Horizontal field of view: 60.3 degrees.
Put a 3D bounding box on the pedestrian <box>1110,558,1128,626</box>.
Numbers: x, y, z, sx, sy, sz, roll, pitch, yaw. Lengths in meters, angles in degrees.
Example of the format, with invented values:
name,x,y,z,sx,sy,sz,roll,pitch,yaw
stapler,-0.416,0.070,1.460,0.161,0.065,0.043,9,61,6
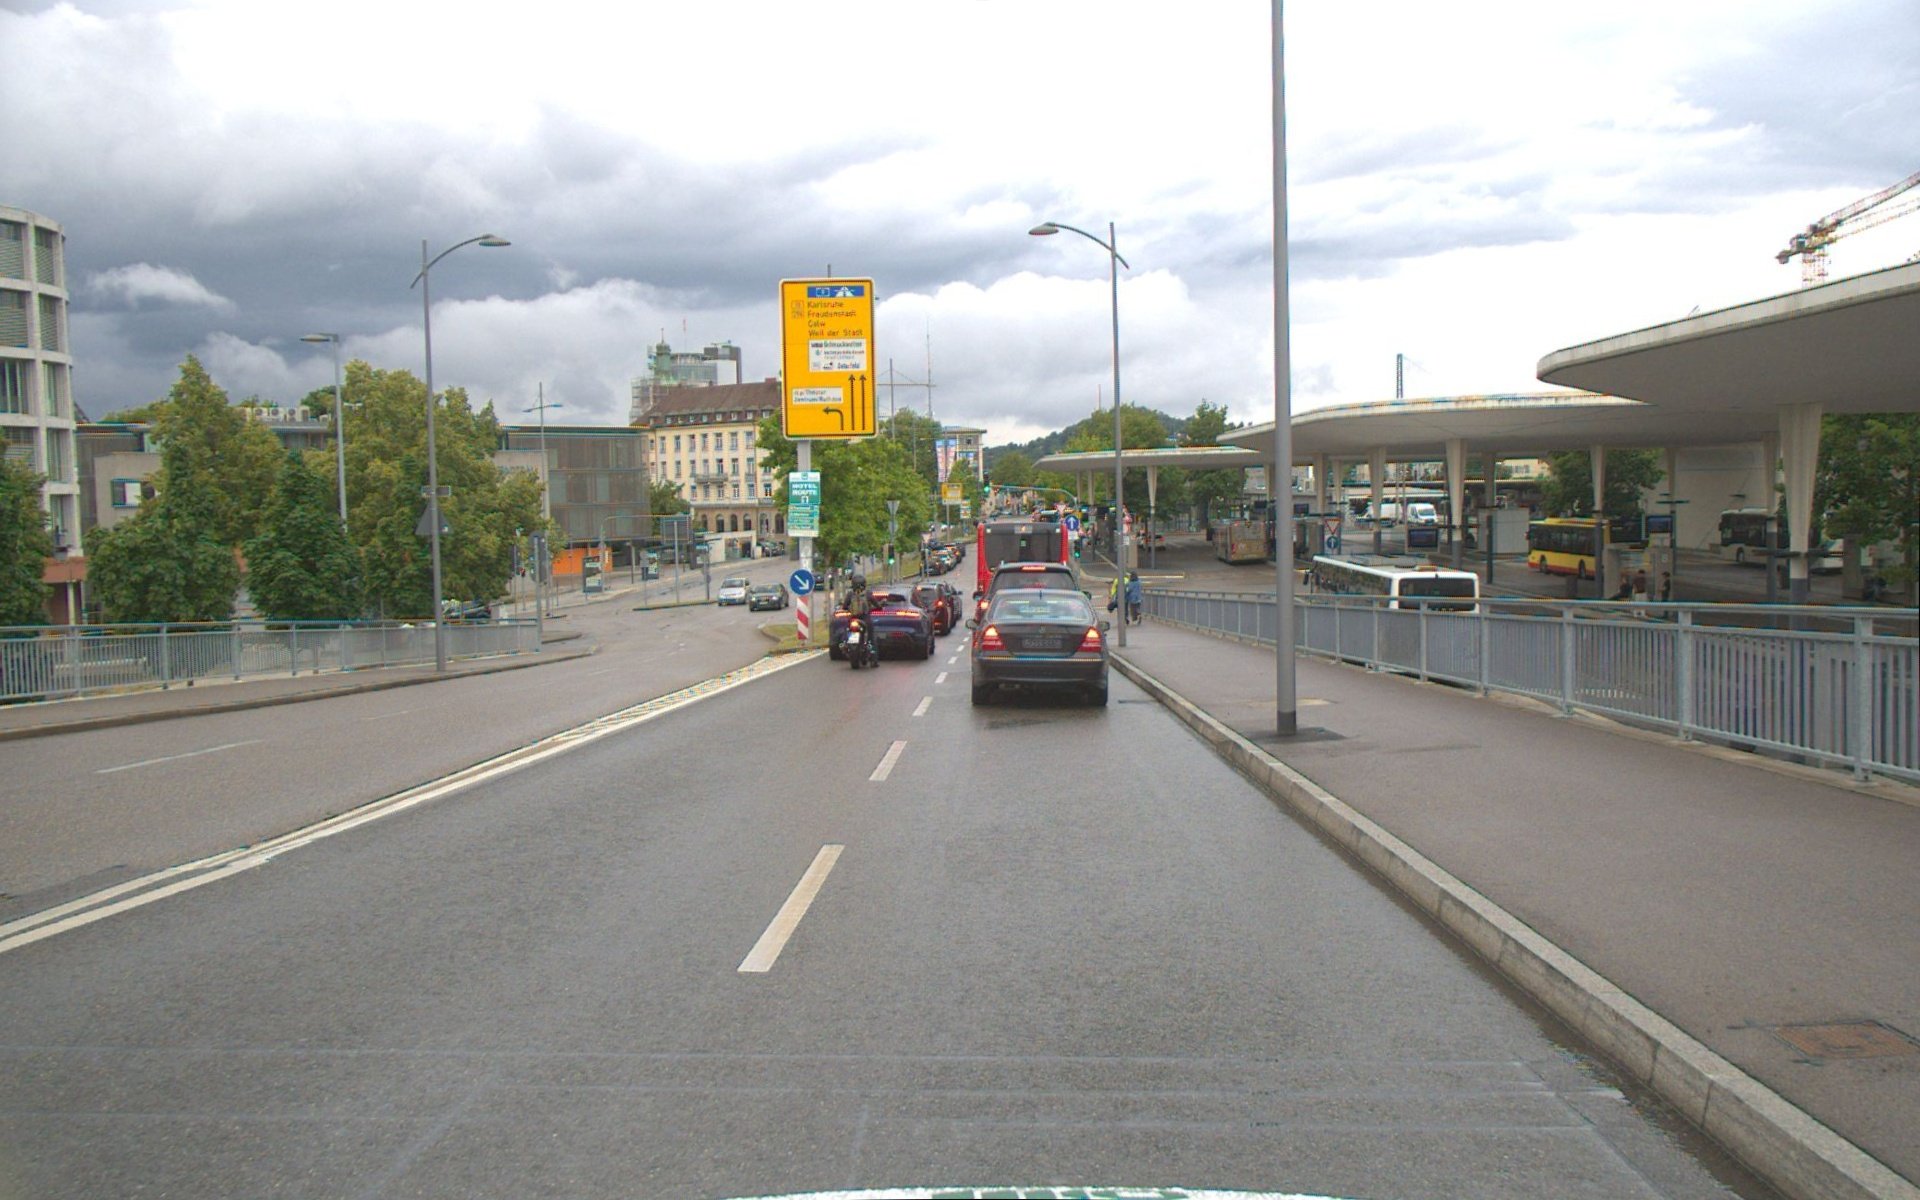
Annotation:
name,x,y,z,sx,sy,sz,roll,pitch,yaw
pedestrian,4.796,-0.237,49.850,0.479,2.049,0.470,-2,-1,4

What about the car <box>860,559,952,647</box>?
name,x,y,z,sx,sy,sz,roll,pitch,yaw
car,-1.269,0.024,40.620,1.952,2.041,4.002,0,1,3

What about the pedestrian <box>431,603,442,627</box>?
name,x,y,z,sx,sy,sz,roll,pitch,yaw
pedestrian,-19.907,0.562,62.914,0.294,0.888,0.299,-2,2,4

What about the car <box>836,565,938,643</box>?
name,x,y,z,sx,sy,sz,roll,pitch,yaw
car,-1.407,0.026,33.147,1.723,1.461,4.002,0,1,2

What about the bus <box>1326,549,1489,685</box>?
name,x,y,z,sx,sy,sz,roll,pitch,yaw
bus,12.995,0.358,48.656,2.592,3.291,7.073,1,5,-2

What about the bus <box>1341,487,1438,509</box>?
name,x,y,z,sx,sy,sz,roll,pitch,yaw
bus,46.611,-11.107,179.462,9.962,2.048,2.170,-2,1,-1

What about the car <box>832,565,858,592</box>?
name,x,y,z,sx,sy,sz,roll,pitch,yaw
car,-9.301,-1.736,133.411,1.955,2.049,4.198,-2,0,-5

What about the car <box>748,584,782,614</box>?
name,x,y,z,sx,sy,sz,roll,pitch,yaw
car,-11.289,-0.094,95.844,1.797,1.553,4.590,-2,2,-6

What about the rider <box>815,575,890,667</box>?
name,x,y,z,sx,sy,sz,roll,pitch,yaw
rider,-1.822,0.321,28.370,0.862,1.497,2.198,1,1,8

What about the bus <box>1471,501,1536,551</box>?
name,x,y,z,sx,sy,sz,roll,pitch,yaw
bus,37.443,-5.148,114.209,2.545,3.265,6.999,-2,3,4

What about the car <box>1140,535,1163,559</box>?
name,x,y,z,sx,sy,sz,roll,pitch,yaw
car,17.178,-4.708,148.028,1.951,2.048,4.004,-1,2,7

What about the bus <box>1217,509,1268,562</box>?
name,x,y,z,sx,sy,sz,roll,pitch,yaw
bus,20.801,-4.685,122.269,3.111,3.663,10.519,-1,1,7

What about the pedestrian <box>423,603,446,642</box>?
name,x,y,z,sx,sy,sz,roll,pitch,yaw
pedestrian,-19.987,0.850,62.905,0.634,1.433,0.531,-2,2,4

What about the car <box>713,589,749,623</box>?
name,x,y,z,sx,sy,sz,roll,pitch,yaw
car,-14.367,0.356,103.892,1.955,2.048,3.995,-2,1,-6

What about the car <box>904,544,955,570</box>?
name,x,y,z,sx,sy,sz,roll,pitch,yaw
car,-2.488,-3.520,135.547,3.902,2.048,2.002,-2,1,6

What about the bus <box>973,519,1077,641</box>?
name,x,y,z,sx,sy,sz,roll,pitch,yaw
bus,1.882,-0.614,49.306,2.769,3.245,10.312,0,1,1

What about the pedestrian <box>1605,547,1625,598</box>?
name,x,y,z,sx,sy,sz,roll,pitch,yaw
pedestrian,26.636,-1.101,67.257,0.532,2.048,0.580,-2,1,2

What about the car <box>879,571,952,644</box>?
name,x,y,z,sx,sy,sz,roll,pitch,yaw
car,-1.279,0.181,48.728,1.952,2.041,4.001,0,1,1

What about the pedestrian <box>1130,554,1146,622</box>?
name,x,y,z,sx,sy,sz,roll,pitch,yaw
pedestrian,5.359,-0.358,49.746,0.415,2.049,0.483,-2,-1,4

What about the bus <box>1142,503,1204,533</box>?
name,x,y,z,sx,sy,sz,roll,pitch,yaw
bus,25.844,-9.930,200.868,7.053,3.455,3.081,-2,2,-2

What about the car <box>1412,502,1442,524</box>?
name,x,y,z,sx,sy,sz,roll,pitch,yaw
car,47.098,-8.768,166.911,1.952,2.048,4.002,-2,3,1

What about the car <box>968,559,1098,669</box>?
name,x,y,z,sx,sy,sz,roll,pitch,yaw
car,1.304,0.174,27.863,1.788,1.716,4.004,0,1,8

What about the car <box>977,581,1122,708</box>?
name,x,y,z,sx,sy,sz,roll,pitch,yaw
car,1.086,0.490,20.968,1.670,1.444,3.727,0,1,2

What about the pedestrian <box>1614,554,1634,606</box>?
name,x,y,z,sx,sy,sz,roll,pitch,yaw
pedestrian,26.473,-0.814,65.975,0.532,2.048,0.580,-2,1,2

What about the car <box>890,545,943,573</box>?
name,x,y,z,sx,sy,sz,roll,pitch,yaw
car,-3.381,-3.216,129.511,3.902,2.048,2.002,-2,1,6

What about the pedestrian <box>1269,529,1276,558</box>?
name,x,y,z,sx,sy,sz,roll,pitch,yaw
pedestrian,22.788,-4.108,120.465,0.415,2.048,0.484,-2,1,4

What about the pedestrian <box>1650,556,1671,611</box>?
name,x,y,z,sx,sy,sz,roll,pitch,yaw
pedestrian,26.372,-0.641,62.264,0.549,2.048,0.484,-2,1,4

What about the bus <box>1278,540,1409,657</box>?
name,x,y,z,sx,sy,sz,roll,pitch,yaw
bus,12.797,-0.182,55.751,2.592,3.291,7.073,-2,5,-1

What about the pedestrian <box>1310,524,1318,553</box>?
name,x,y,z,sx,sy,sz,roll,pitch,yaw
pedestrian,25.453,-4.392,118.911,0.415,2.049,0.483,-2,-1,4
